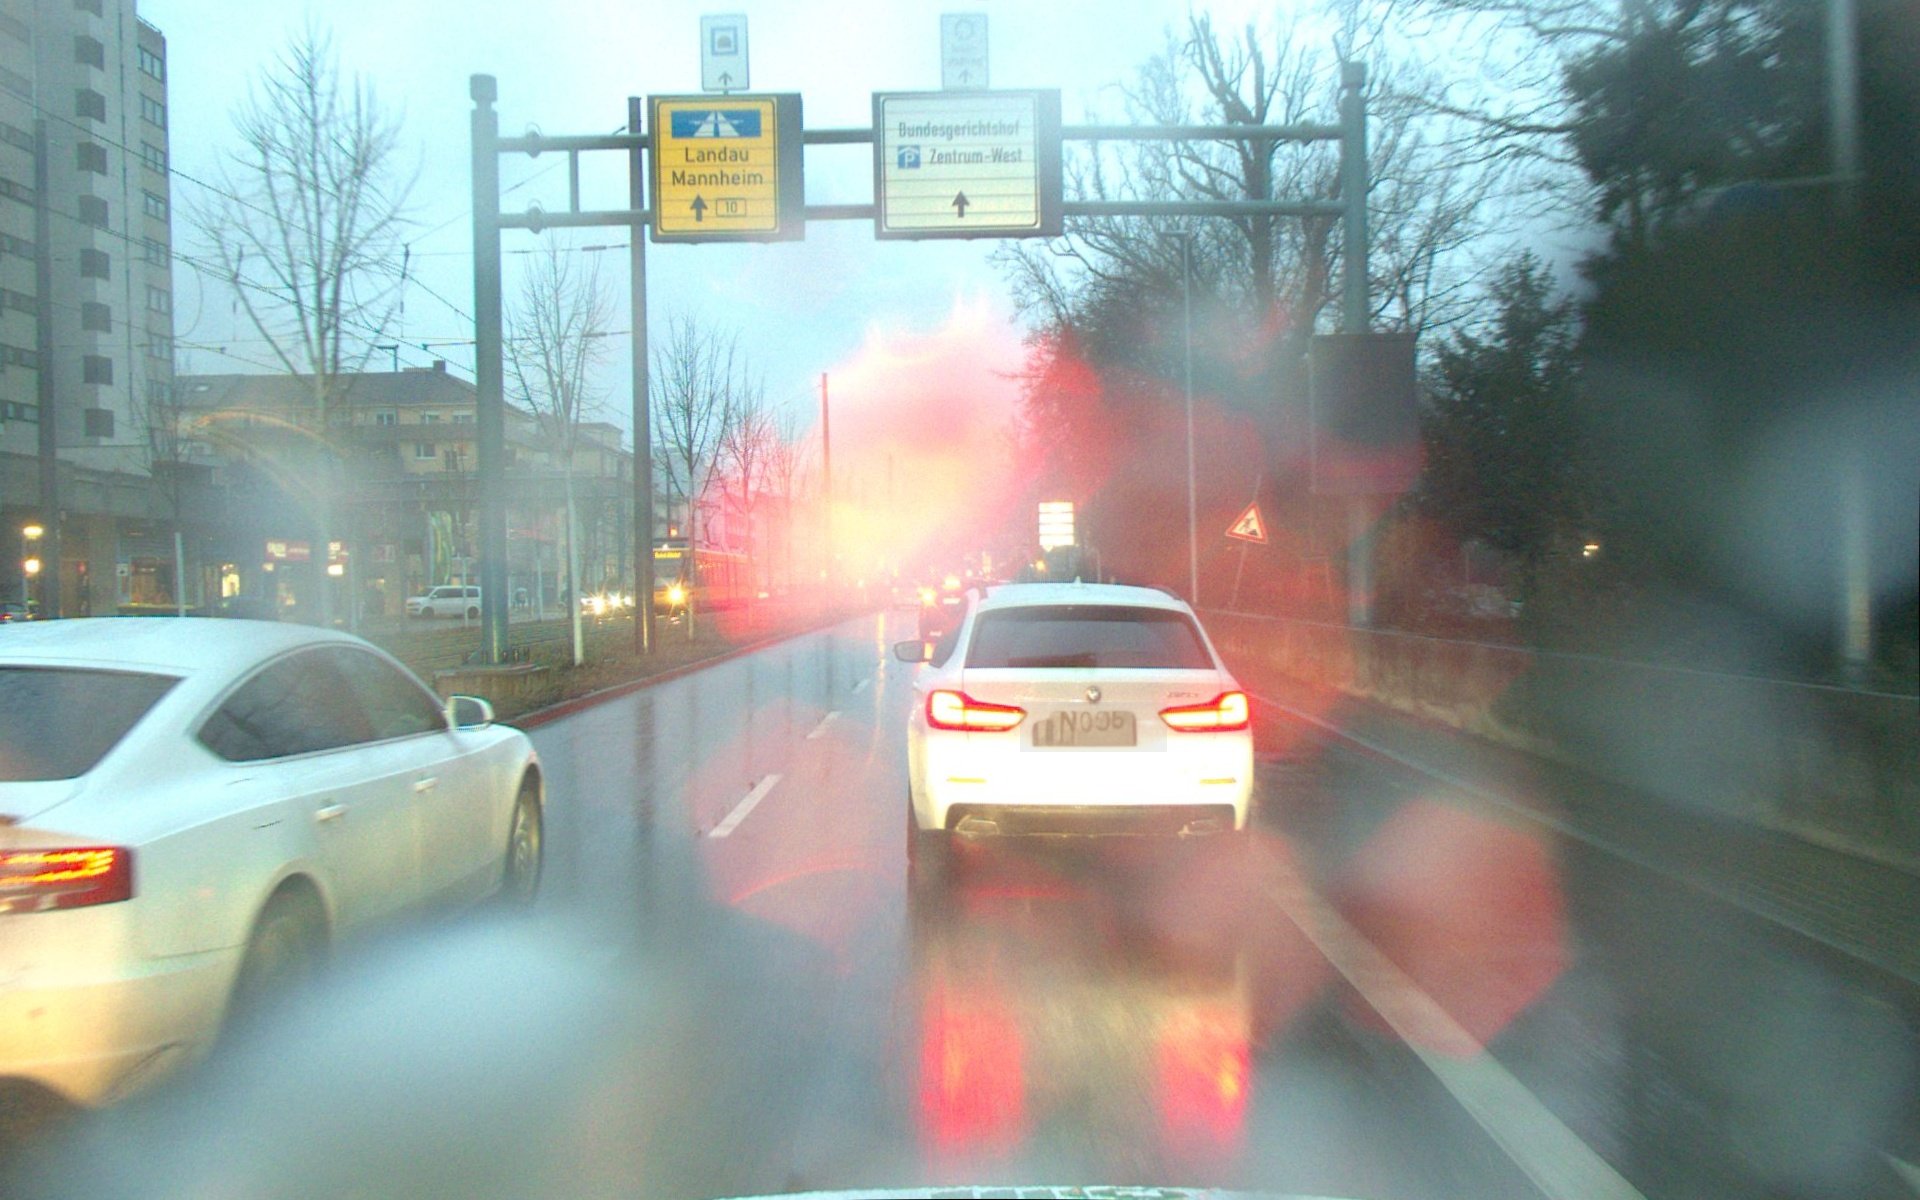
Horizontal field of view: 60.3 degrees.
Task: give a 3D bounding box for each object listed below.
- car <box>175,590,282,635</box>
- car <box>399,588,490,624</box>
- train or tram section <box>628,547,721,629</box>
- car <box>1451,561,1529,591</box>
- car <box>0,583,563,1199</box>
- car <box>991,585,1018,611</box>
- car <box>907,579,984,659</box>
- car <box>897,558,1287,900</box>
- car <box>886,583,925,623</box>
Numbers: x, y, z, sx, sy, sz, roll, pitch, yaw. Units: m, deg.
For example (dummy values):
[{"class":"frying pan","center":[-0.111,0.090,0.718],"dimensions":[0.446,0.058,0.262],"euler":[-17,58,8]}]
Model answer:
[{"class":"car","center":[-31.415,0.520,71.067],"dimensions":[3.787,1.828,1.881],"euler":[-2,1,-42]},{"class":"car","center":[-31.189,0.329,100.149],"dimensions":[4.842,2.049,1.970],"euler":[-2,1,-42]},{"class":"train or tram section","center":[-13.470,-0.593,78.841],"dimensions":[2.784,3.565,9.157],"euler":[-2,0,0]},{"class":"car","center":[30.049,-1.361,93.879],"dimensions":[1.798,1.691,3.950],"euler":[0,0,-36]},{"class":"car","center":[-2.709,0.695,5.690],"dimensions":[1.724,1.495,4.251],"euler":[0,0,-1]},{"class":"car","center":[3.455,-0.178,129.496],"dimensions":[1.953,2.049,4.000],"euler":[0,0,0]},{"class":"car","center":[-0.383,0.482,44.401],"dimensions":[1.953,2.049,4.000],"euler":[0,0,0]},{"class":"car","center":[0.542,0.577,9.828],"dimensions":[1.725,1.579,4.248],"euler":[0,0,-4]},{"class":"car","center":[-2.834,0.160,86.950],"dimensions":[1.953,2.049,4.000],"euler":[0,0,0]}]
